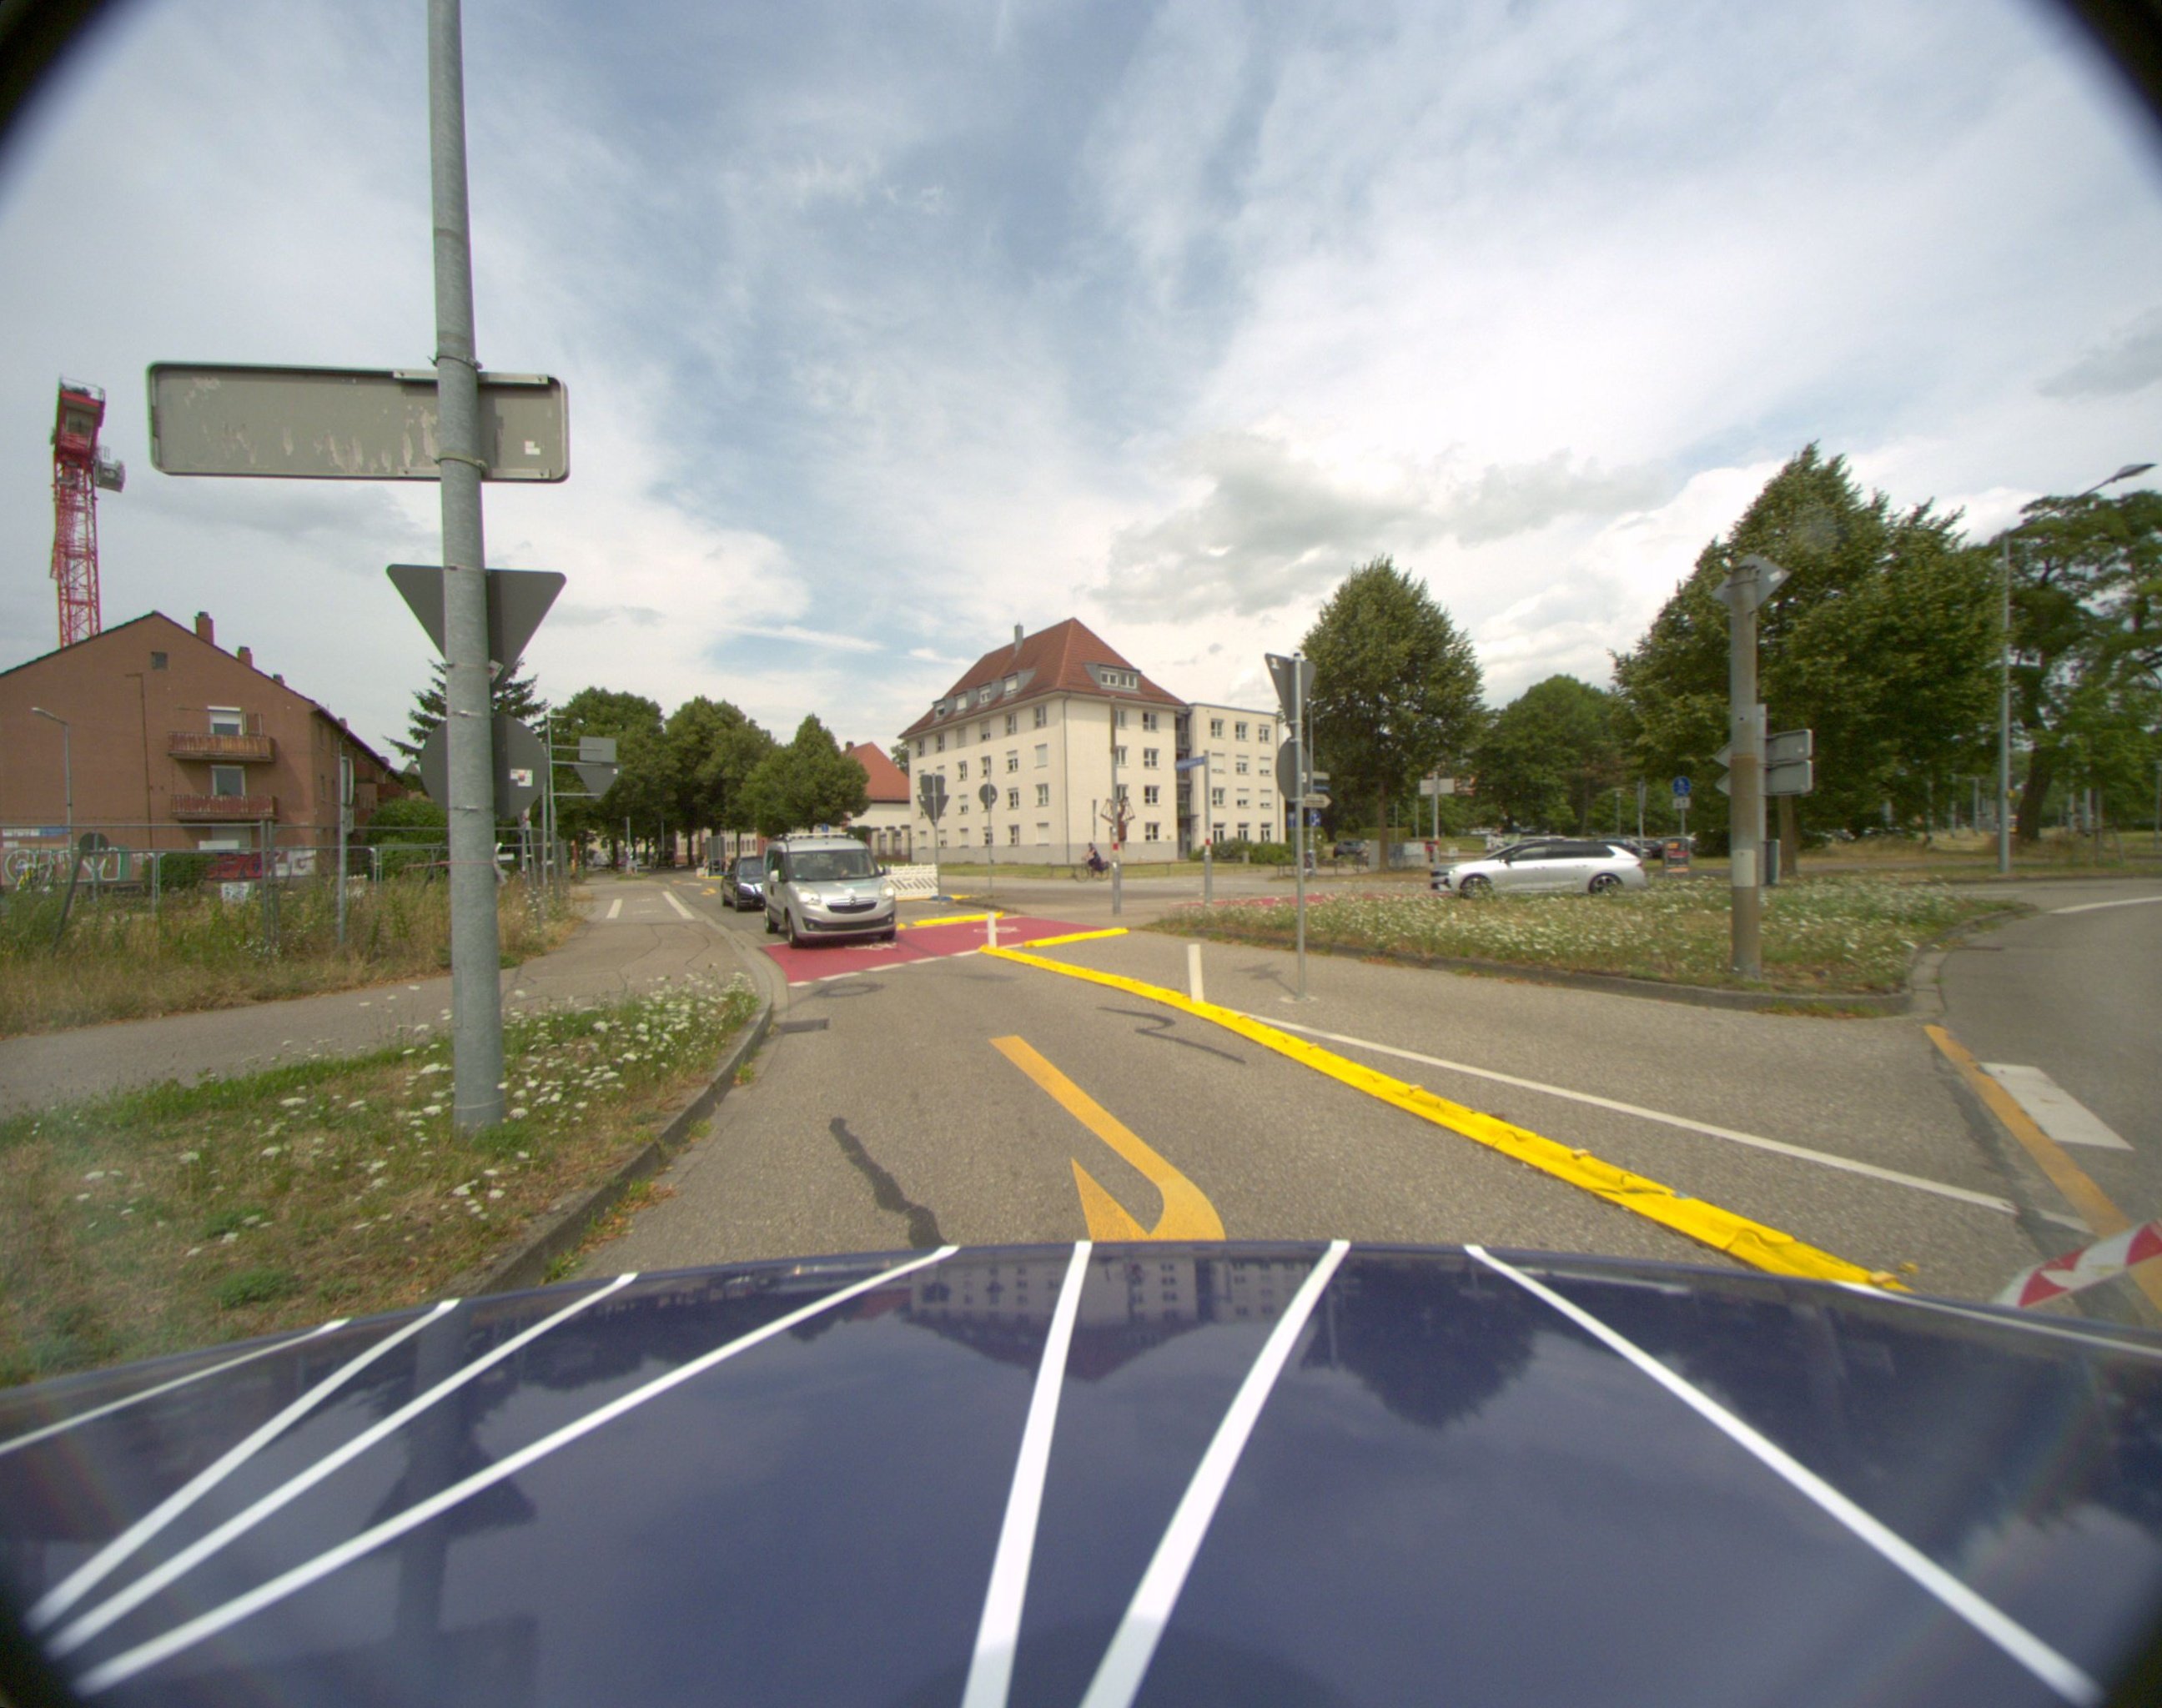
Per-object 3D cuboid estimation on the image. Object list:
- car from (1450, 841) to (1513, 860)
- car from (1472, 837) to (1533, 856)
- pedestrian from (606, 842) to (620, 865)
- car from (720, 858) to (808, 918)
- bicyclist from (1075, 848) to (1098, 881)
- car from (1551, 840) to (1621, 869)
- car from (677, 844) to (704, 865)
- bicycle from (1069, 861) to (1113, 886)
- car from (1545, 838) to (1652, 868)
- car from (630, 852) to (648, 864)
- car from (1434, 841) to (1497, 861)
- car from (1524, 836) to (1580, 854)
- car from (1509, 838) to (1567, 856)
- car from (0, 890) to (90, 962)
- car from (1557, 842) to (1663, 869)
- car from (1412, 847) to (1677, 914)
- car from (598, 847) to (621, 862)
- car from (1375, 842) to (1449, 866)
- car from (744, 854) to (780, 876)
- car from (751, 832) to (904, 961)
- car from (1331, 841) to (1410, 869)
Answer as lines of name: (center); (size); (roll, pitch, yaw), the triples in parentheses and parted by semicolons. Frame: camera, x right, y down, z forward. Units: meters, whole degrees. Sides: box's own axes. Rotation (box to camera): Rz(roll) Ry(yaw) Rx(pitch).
car: (31.610, -0.261, 60.021); (1.821, 1.459, 3.996); (-2, 1, -38)
car: (34.615, -0.628, 62.474); (1.821, 1.460, 3.996); (-2, 1, -38)
pedestrian: (-41.901, -0.060, 68.073); (0.730, 2.002, 0.858); (0, 2, 45)
car: (-9.457, 0.923, 22.402); (1.821, 1.495, 4.858); (-2, 1, -29)
bicyclist: (0.240, 0.466, 33.153); (0.804, 1.415, 0.600); (-2, 1, -30)
car: (27.788, 0.040, 41.870); (1.487, 1.414, 2.909); (-1, -2, -44)
car: (-45.263, 0.080, 88.069); (2.003, 2.260, 5.146); (-2, 1, -36)
bicycle: (0.445, 0.840, 33.280); (1.832, 1.040, 0.600); (-2, 1, -30)
car: (29.629, -0.042, 43.644); (1.836, 1.462, 4.695); (-2, -1, -40)
car: (-61.757, 0.605, 106.188); (1.805, 1.613, 4.735); (-2, 1, -35)
car: (29.778, -0.201, 58.899); (1.618, 1.460, 3.996); (-2, 1, -38)
car: (43.141, -0.848, 69.698); (1.821, 1.565, 3.996); (-2, 1, -38)
car: (39.838, -0.589, 66.286); (1.821, 1.460, 3.996); (-2, 1, -38)
car: (-24.826, 1.685, 16.732); (1.769, 1.465, 4.250); (-2, 1, -24)
car: (31.649, 0.088, 45.576); (1.836, 1.463, 4.875); (-2, 1, -37)
car: (11.038, 0.639, 18.550); (5.174, 1.474, 2.002); (-1, 1, 15)
car: (-89.314, 0.102, 144.067); (2.072, 2.670, 5.961); (-2, 1, -16)
car: (23.475, -0.040, 54.074); (2.003, 1.588, 4.395); (-2, 1, -36)
car: (-23.212, 0.756, 55.225); (1.631, 1.510, 4.208); (-2, 1, -33)
car: (-4.838, 0.628, 14.046); (1.813, 1.936, 4.573); (-2, 1, -29)
car: (19.217, 0.073, 50.575); (2.004, 1.754, 4.488); (-2, 1, -38)
